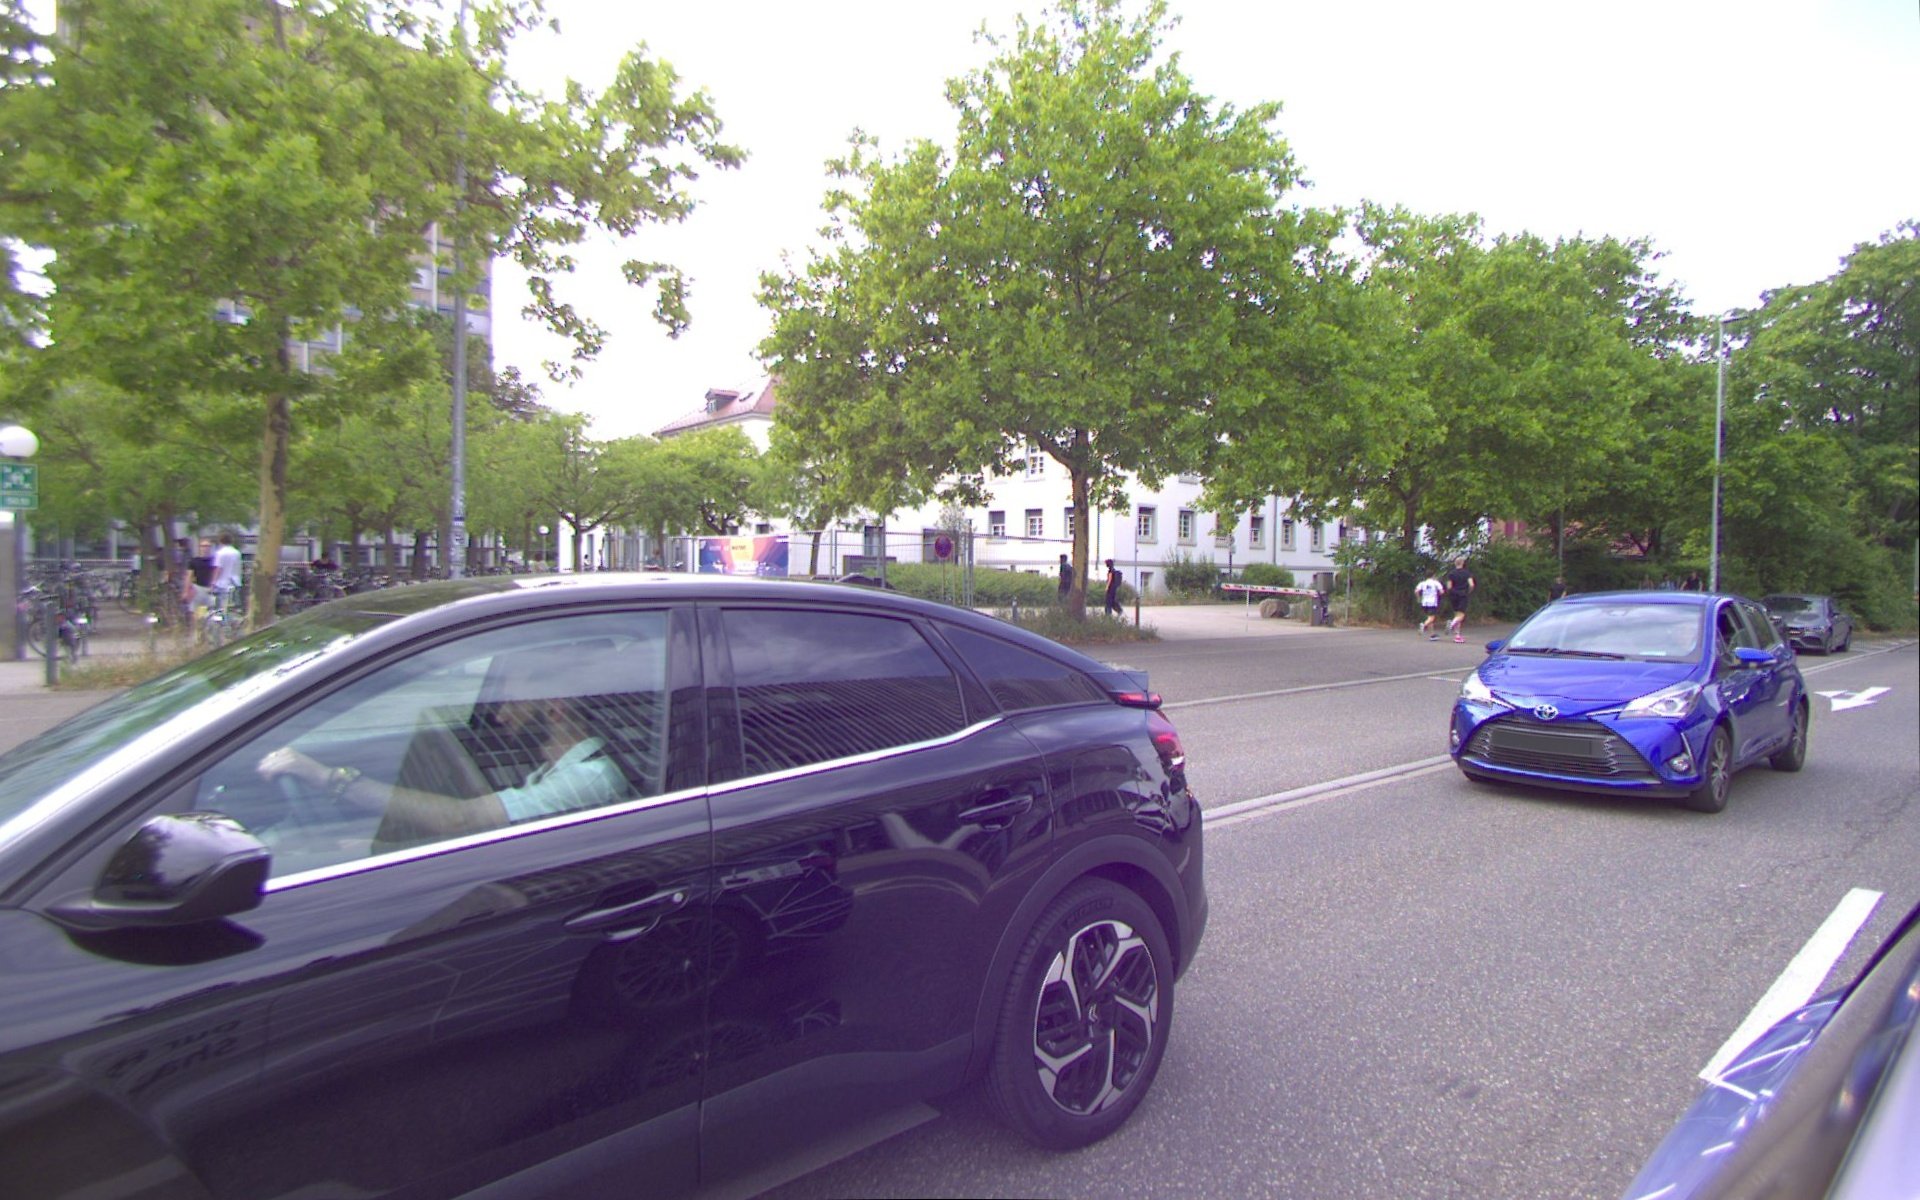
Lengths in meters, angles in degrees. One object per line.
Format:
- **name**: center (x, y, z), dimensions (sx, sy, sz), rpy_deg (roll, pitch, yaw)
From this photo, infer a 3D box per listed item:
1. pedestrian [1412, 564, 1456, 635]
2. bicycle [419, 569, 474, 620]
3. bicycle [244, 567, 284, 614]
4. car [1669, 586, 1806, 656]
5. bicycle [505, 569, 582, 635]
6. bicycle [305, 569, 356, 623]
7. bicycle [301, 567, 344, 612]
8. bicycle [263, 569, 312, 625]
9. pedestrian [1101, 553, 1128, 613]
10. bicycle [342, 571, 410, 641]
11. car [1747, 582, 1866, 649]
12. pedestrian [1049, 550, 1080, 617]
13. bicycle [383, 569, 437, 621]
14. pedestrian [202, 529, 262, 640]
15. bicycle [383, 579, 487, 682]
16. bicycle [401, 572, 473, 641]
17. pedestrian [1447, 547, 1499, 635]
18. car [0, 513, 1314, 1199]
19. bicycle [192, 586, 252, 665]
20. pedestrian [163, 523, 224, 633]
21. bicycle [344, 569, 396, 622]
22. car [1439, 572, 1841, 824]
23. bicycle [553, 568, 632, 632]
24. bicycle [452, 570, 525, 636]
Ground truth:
- **pedestrian**: center (10.877, -0.027, 23.219), dimensions (0.791, 1.584, 0.645), rpy_deg (-1, 1, -43)
- **bicycle**: center (-12.335, -0.155, 24.288), dimensions (0.705, 1.156, 2.472), rpy_deg (-1, 2, -38)
- **bicycle**: center (-18.079, -0.269, 26.267), dimensions (0.705, 1.156, 2.472), rpy_deg (-1, 2, -38)
- **car**: center (17.385, 0.405, 22.584), dimensions (3.765, 1.386, 1.702), rpy_deg (-1, 2, -41)
- **bicycle**: center (-7.846, -0.001, 18.987), dimensions (0.705, 1.156, 2.472), rpy_deg (-1, 2, -38)
- **bicycle**: center (-14.182, -0.113, 22.774), dimensions (0.705, 1.156, 2.472), rpy_deg (-1, 2, -38)
- **bicycle**: center (-17.085, -0.294, 27.103), dimensions (0.705, 1.156, 2.472), rpy_deg (-1, 2, -38)
- **bicycle**: center (-14.815, -0.094, 22.257), dimensions (0.705, 1.156, 2.472), rpy_deg (-1, 2, -38)
- **pedestrian**: center (4.665, -0.508, 30.497), dimensions (0.583, 1.774, 0.531), rpy_deg (0, 1, -36)
- **bicycle**: center (-10.412, 0.063, 18.009), dimensions (0.705, 1.156, 2.472), rpy_deg (-1, 2, -38)
- **car**: center (21.148, 0.322, 25.228), dimensions (3.948, 1.480, 1.606), rpy_deg (-1, 4, -41)
- **pedestrian**: center (2.802, -0.439, 27.117), dimensions (0.583, 1.760, 0.586), rpy_deg (0, 1, -39)
- **bicycle**: center (-12.950, -0.139, 23.782), dimensions (0.705, 1.156, 2.472), rpy_deg (-1, 2, -38)
- **pedestrian**: center (-13.300, -0.277, 18.497), dimensions (0.675, 1.988, 0.600), rpy_deg (0, 0, 11)
- **bicycle**: center (-6.633, 0.325, 12.714), dimensions (0.705, 1.156, 2.472), rpy_deg (-1, 2, -38)
- **bicycle**: center (-9.510, 0.078, 18.360), dimensions (0.705, 1.156, 2.472), rpy_deg (-1, 2, -38)
- **pedestrian**: center (11.603, -0.213, 22.879), dimensions (0.747, 1.957, 0.797), rpy_deg (0, 1, -41)
- **car**: center (-1.104, 0.672, 2.467), dimensions (4.100, 1.576, 1.804), rpy_deg (0, 0, -38)
- **bicycle**: center (-12.059, 0.366, 16.511), dimensions (0.705, 1.156, 2.472), rpy_deg (-1, 2, -38)
- **pedestrian**: center (-14.131, -0.397, 18.666), dimensions (0.675, 1.988, 0.600), rpy_deg (0, 0, 11)
- **bicycle**: center (-13.581, -0.127, 23.254), dimensions (0.705, 1.156, 2.472), rpy_deg (-1, 2, -38)
- **car**: center (5.491, 0.553, 8.001), dimensions (3.765, 1.512, 1.702), rpy_deg (-1, 2, -41)
- **bicycle**: center (-7.140, -0.038, 19.588), dimensions (0.705, 1.156, 2.472), rpy_deg (-1, 2, -38)
- **bicycle**: center (-8.823, 0.021, 18.883), dimensions (0.705, 1.156, 2.472), rpy_deg (-1, 2, -38)
